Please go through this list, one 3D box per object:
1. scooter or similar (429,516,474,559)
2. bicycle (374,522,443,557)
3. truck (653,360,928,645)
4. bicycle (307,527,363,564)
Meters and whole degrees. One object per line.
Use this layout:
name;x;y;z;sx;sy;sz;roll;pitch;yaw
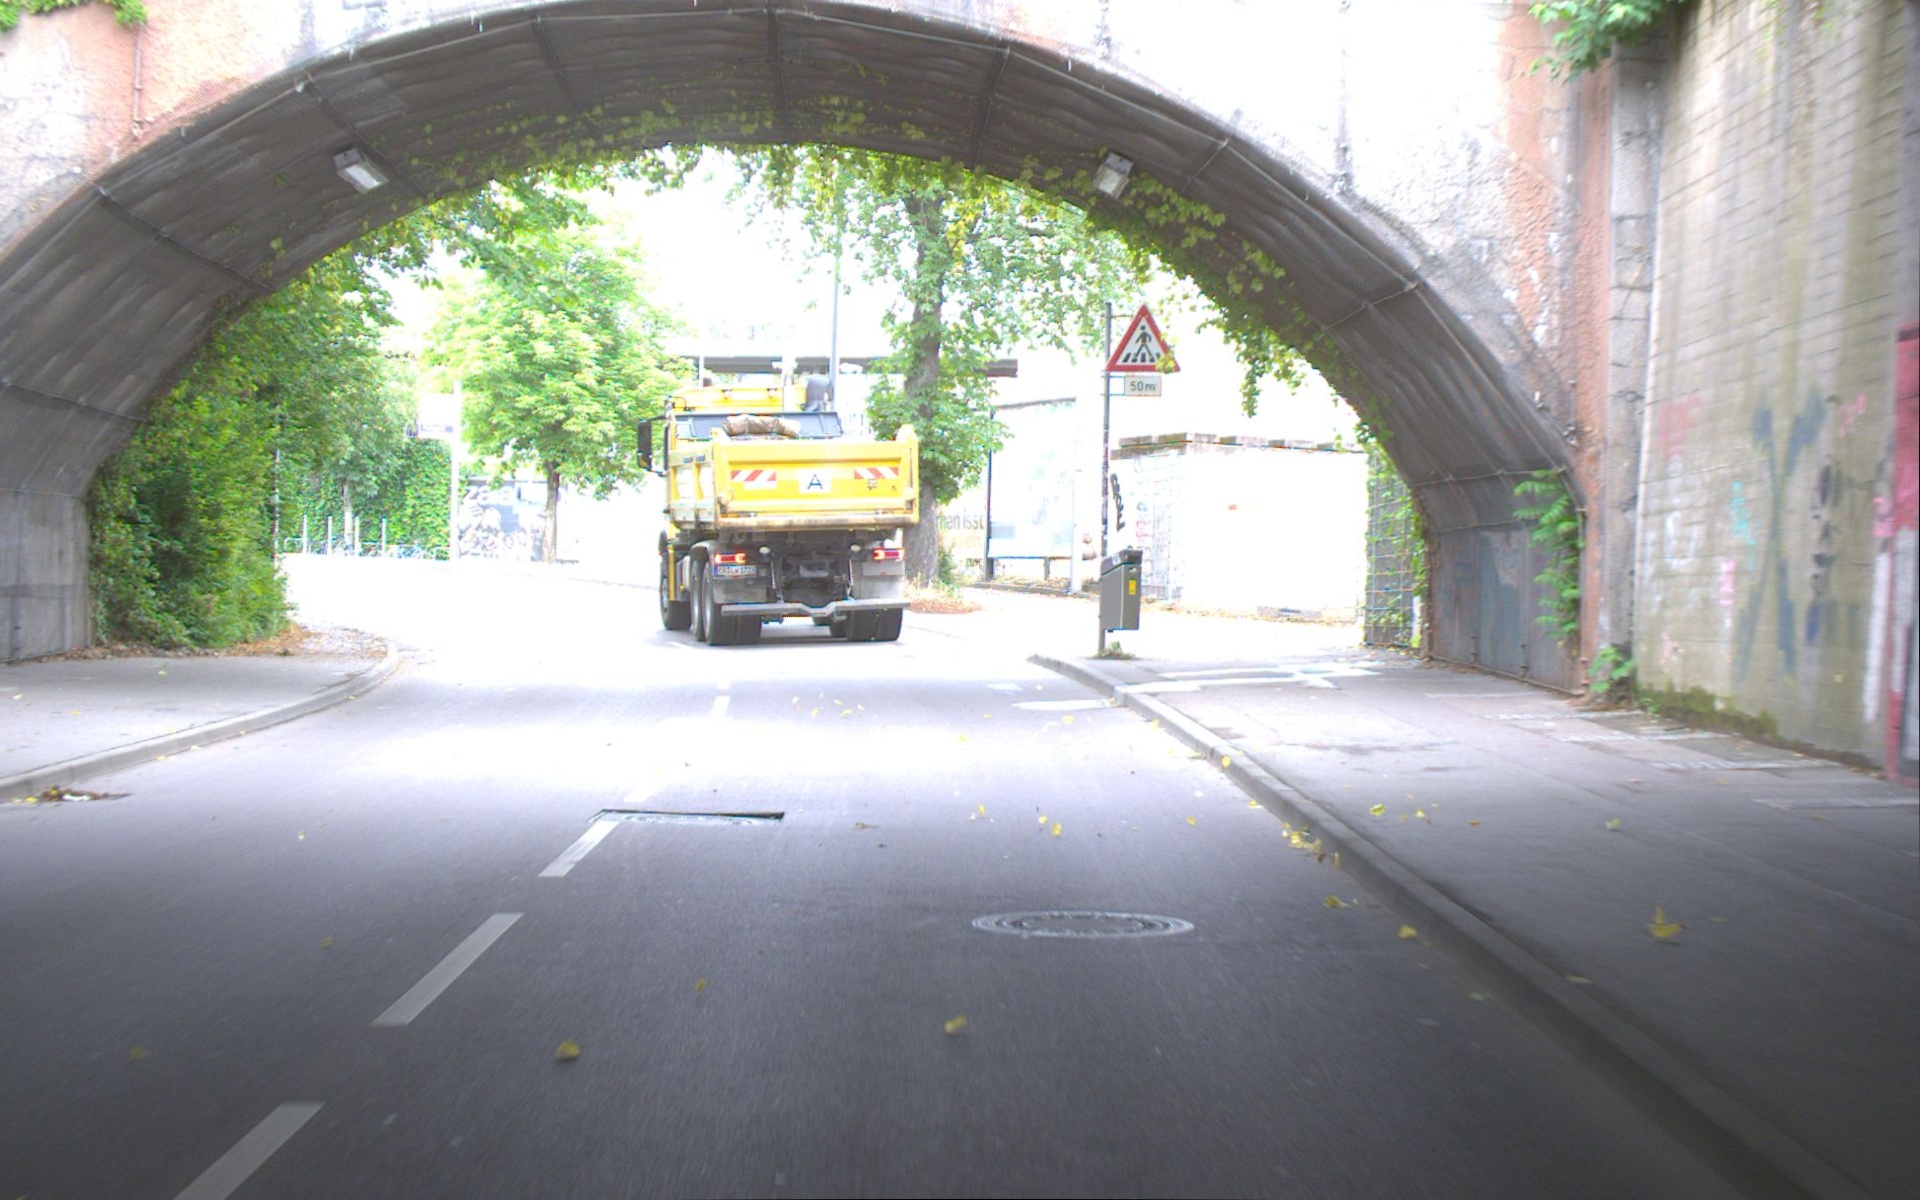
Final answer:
scooter or similar;-15.123;-1.856;102.242;1.187;1.202;0.468;4;-1;-37
bicycle;-16.504;-1.814;102.887;1.966;0.862;0.511;6;-1;-40
truck;-2.429;-1.400;46.257;2.764;3.471;8.132;-1;3;-9
bicycle;-18.752;-1.641;103.198;1.487;0.986;0.694;4;0;-22
